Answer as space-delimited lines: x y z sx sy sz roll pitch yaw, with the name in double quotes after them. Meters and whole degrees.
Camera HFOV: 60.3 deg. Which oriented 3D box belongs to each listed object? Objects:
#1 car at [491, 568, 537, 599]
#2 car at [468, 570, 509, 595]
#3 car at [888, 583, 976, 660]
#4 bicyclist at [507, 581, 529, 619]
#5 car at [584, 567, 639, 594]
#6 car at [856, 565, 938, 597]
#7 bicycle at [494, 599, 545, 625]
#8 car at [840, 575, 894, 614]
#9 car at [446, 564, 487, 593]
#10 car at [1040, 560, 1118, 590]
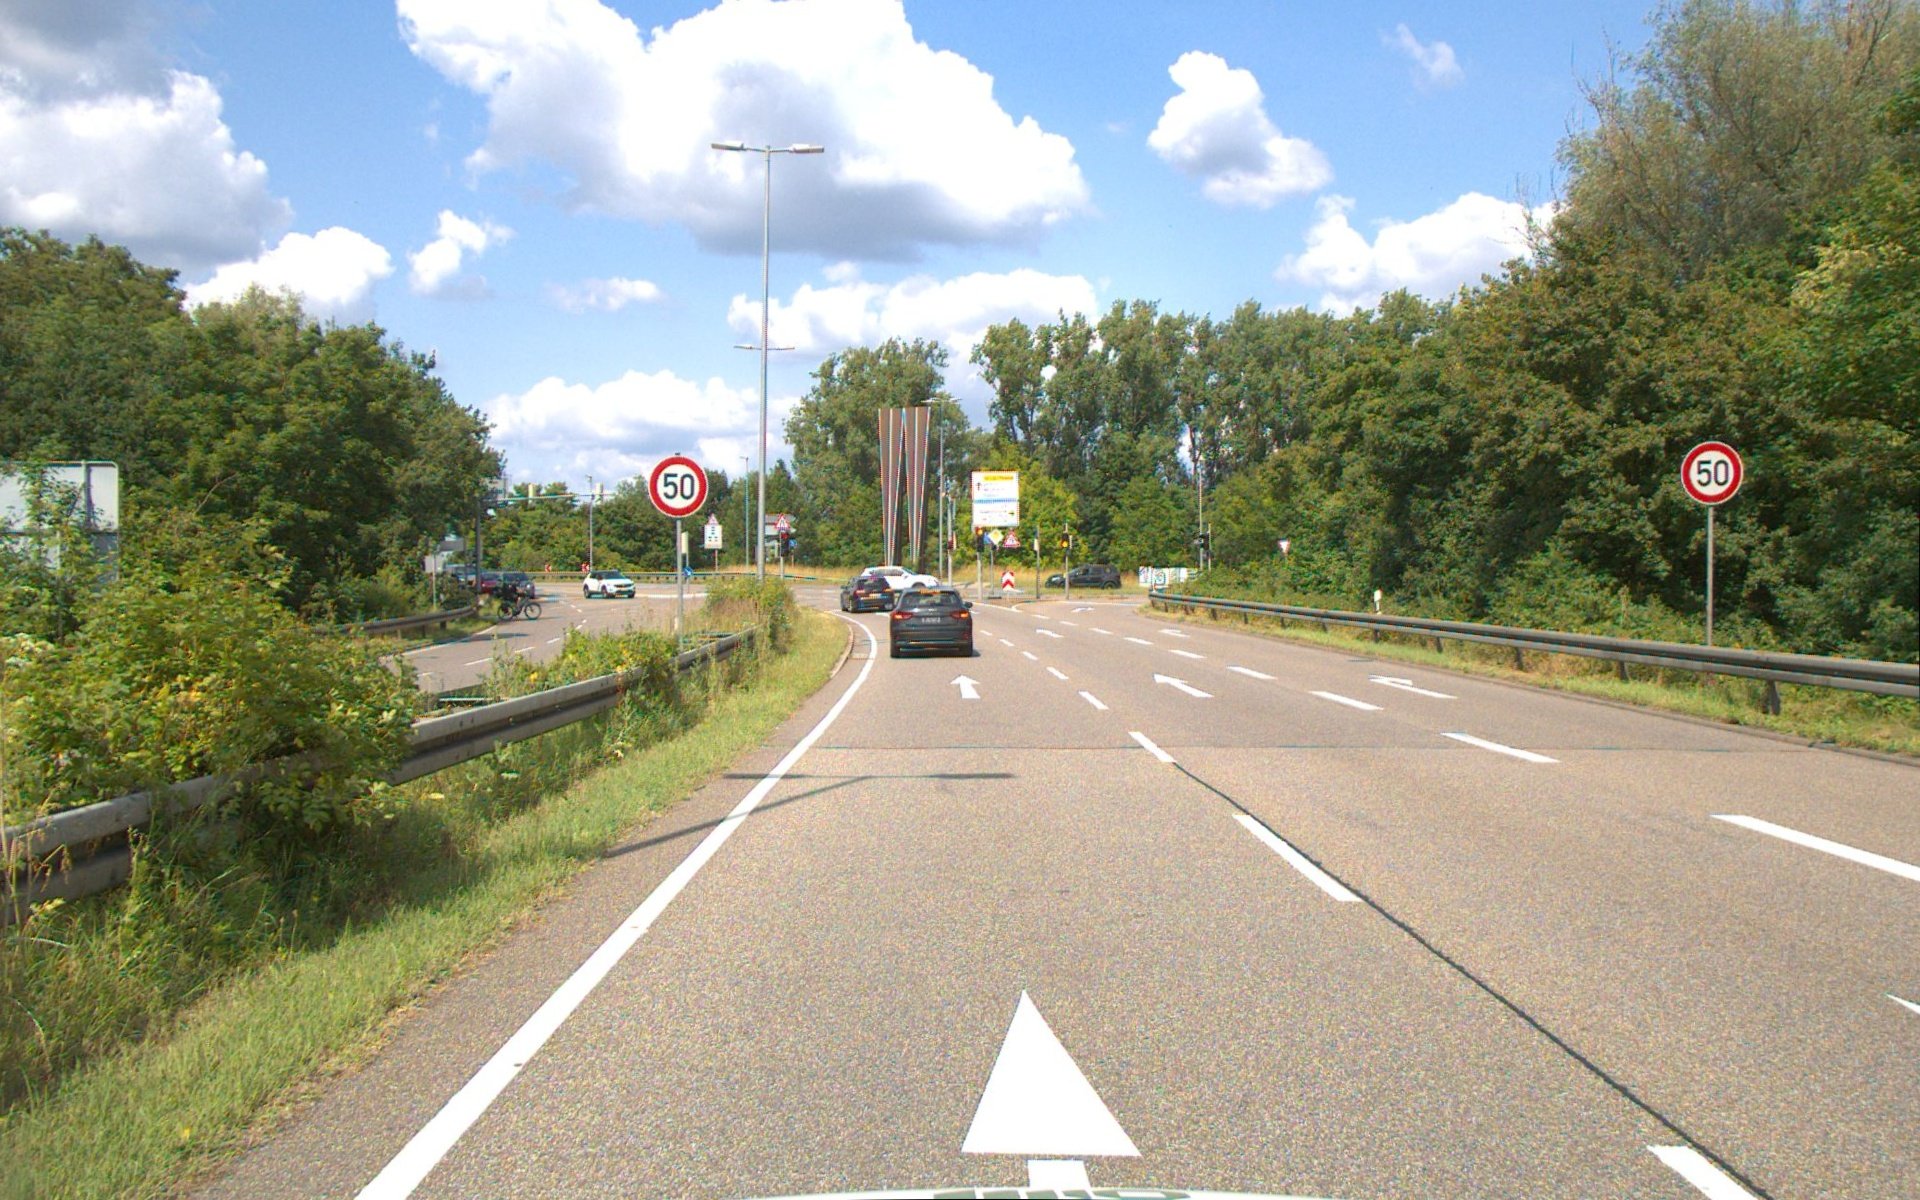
-26.057 -0.947 96.592 1.817 1.646 3.965 -2 0 -27 "car"
-29.599 -1.098 103.774 1.711 1.502 4.011 -2 1 -27 "car"
-0.641 0.400 34.799 1.692 1.428 3.998 -1 2 -3 "car"
-18.895 0.008 70.744 0.822 1.587 0.668 -1 1 -22 "bicyclist"
-19.853 -1.110 94.197 1.716 1.502 4.000 0 1 -33 "car"
-3.250 -0.980 85.767 3.939 1.535 1.958 1 0 9 "car"
-18.834 0.493 70.771 2.024 1.041 0.668 -1 1 -22 "bicycle"
-3.877 -0.269 68.572 1.695 1.448 3.835 -3 2 -10 "car"
-32.778 -1.428 109.755 1.821 1.833 4.289 -2 1 -27 "car"
6.812 -1.445 94.553 4.187 1.572 1.734 -1 1 -7 "car"
